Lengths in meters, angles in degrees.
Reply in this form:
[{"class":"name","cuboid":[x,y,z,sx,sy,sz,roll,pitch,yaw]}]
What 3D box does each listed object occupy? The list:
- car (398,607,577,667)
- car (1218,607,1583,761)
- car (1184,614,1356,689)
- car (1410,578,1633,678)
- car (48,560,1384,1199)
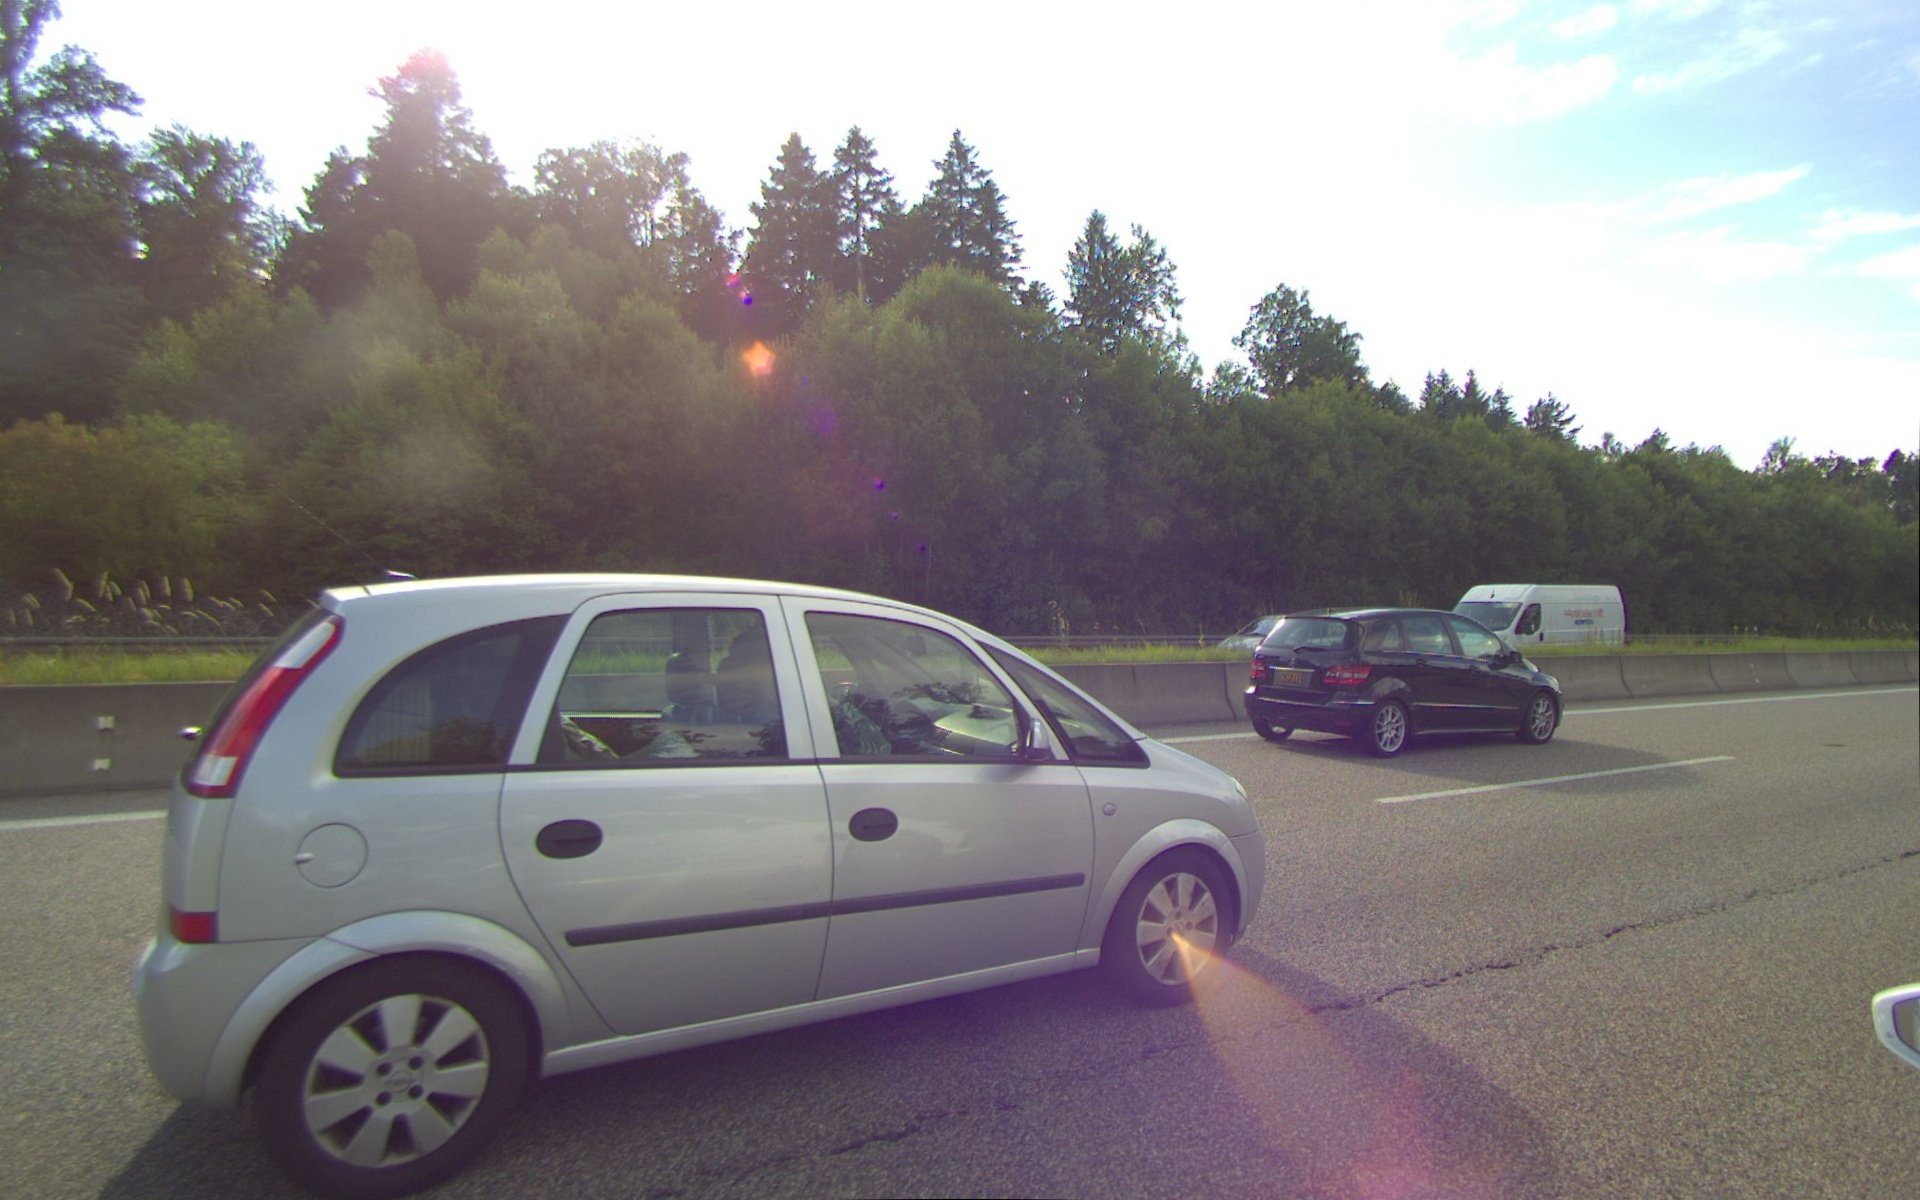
[{"class":"car","cuboid":[-9.485,0.722,20.176,3.135,1.108,1.584,1,-1,-30]},{"class":"car","cuboid":[5.300,0.886,11.969,4.282,1.537,1.827,1,-1,-30]},{"class":"car","cuboid":[8.305,1.327,26.821,4.440,1.829,1.915,1,-1,-30]},{"class":"car","cuboid":[14.820,0.717,26.437,5.760,2.377,2.567,1,-1,-30]},{"class":"car","cuboid":[-0.500,0.725,3.986,4.282,1.537,1.827,1,-1,-30]}]
